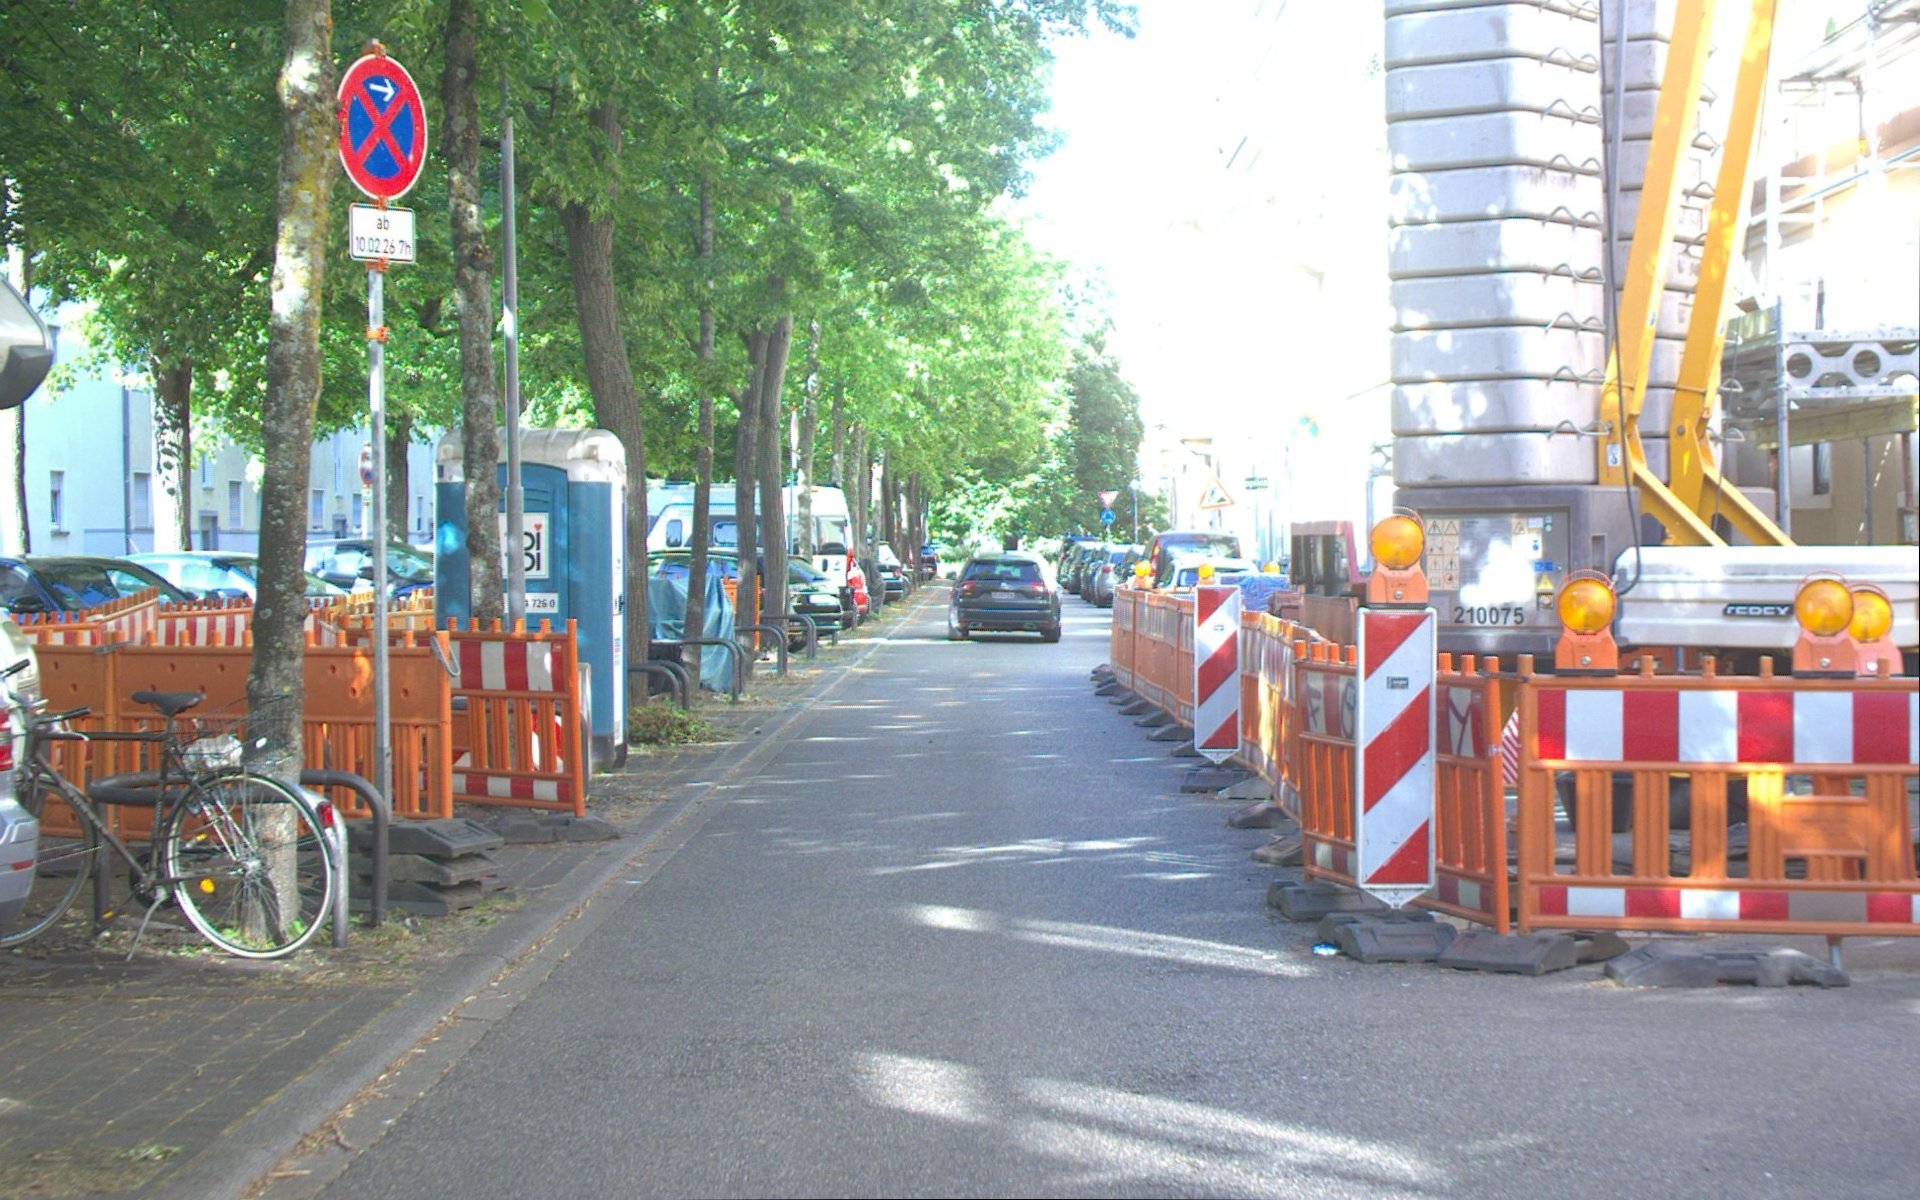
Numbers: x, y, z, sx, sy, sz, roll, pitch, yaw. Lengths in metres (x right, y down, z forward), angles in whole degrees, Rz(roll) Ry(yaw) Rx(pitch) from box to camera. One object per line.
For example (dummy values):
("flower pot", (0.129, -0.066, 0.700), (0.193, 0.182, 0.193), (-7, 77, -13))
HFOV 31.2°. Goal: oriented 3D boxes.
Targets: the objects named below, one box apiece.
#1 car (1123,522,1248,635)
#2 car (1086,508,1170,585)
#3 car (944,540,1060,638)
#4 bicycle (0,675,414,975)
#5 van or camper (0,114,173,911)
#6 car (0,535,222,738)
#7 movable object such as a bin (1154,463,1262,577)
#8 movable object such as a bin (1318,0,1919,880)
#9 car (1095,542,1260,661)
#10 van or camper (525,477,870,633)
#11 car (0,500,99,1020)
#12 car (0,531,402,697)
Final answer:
("car", (3.756, -0.395, 57.651), (1.797, 1.794, 3.586), (-1, 1, 0))
("car", (4.093, -1.325, 84.155), (1.797, 1.794, 3.586), (-1, 1, 0))
("car", (0.654, -0.211, 56.496), (1.797, 1.498, 3.586), (-1, 1, 0))
("bicycle", (-2.901, 0.787, 12.421), (1.899, 1.003, 0.430), (0, 1, 24))
("van or camper", (-6.936, -0.328, 15.331), (6.667, 3.229, 2.491), (0, 1, 29))
("car", (-8.525, 0.291, 29.335), (3.993, 1.601, 1.997), (0, 1, 29))
("movable object such as a bin", (5.058, -1.644, 70.552), (1.797, 2.225, 4.606), (-1, 1, 0))
("movable object such as a bin", (3.741, -2.233, 15.792), (3.485, 6.736, 2.364), (0, 1, 33))
("car", (2.690, -0.010, 43.252), (1.797, 1.380, 3.586), (-1, 1, 0))
("van or camper", (-4.358, -0.736, 56.829), (5.342, 2.466, 2.290), (0, 1, 33))
("car", (-4.977, 0.514, 11.205), (3.958, 1.623, 1.820), (0, 1, 26))
("car", (-8.009, 0.136, 35.568), (3.993, 1.601, 1.997), (0, 1, 29))
